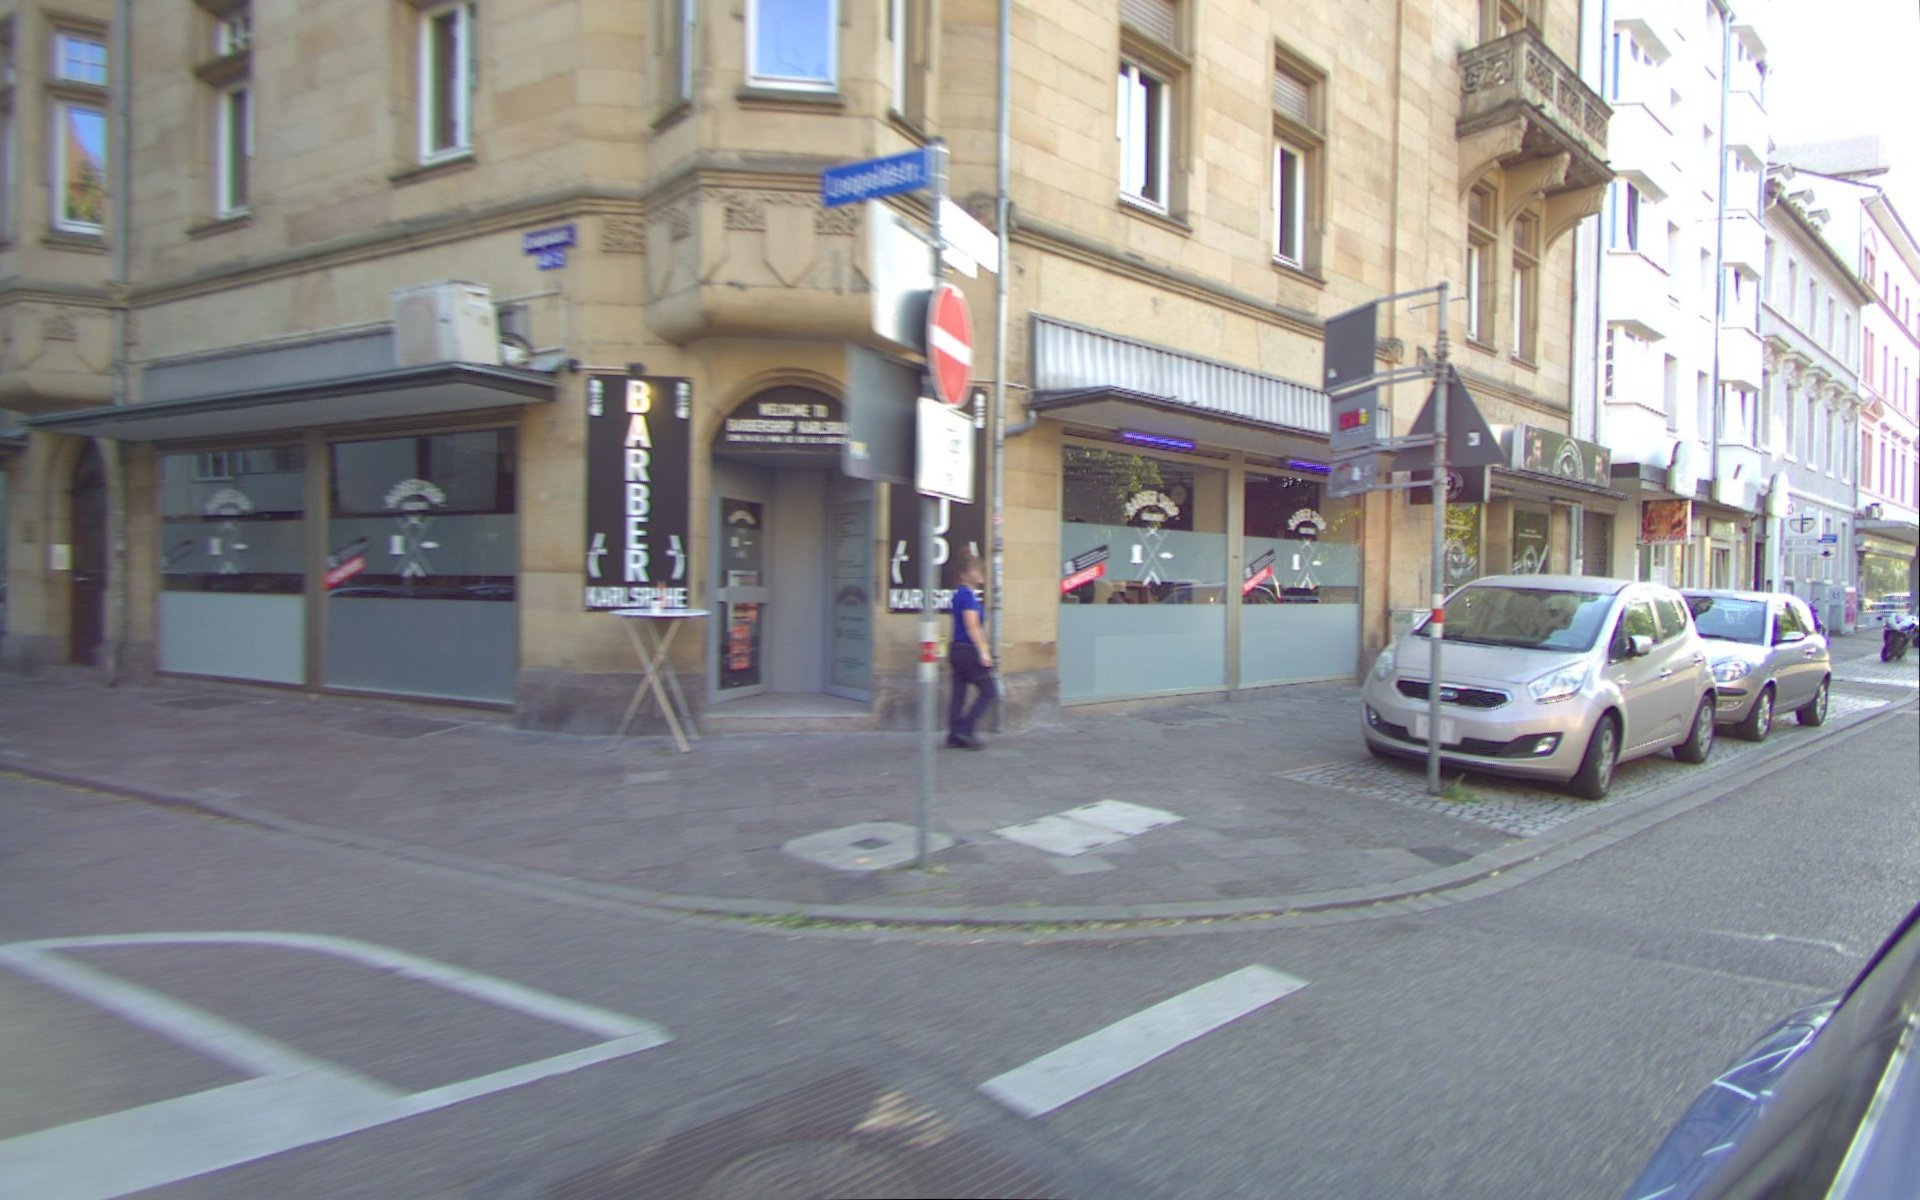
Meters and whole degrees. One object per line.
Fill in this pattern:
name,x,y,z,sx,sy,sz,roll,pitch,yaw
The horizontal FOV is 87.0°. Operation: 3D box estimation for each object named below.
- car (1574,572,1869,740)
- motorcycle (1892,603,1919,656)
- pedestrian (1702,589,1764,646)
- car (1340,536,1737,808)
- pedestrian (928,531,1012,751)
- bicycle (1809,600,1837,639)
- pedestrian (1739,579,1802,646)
car,8.836,0.532,11.639,3.926,1.580,1.685,0,2,-38
motorcycle,21.517,0.641,22.734,2.171,1.137,0.589,0,0,-41
pedestrian,17.637,0.387,23.104,0.774,1.235,0.745,3,2,-10
car,5.037,0.454,8.597,3.930,1.792,1.699,0,1,-41
pedestrian,0.076,0.315,8.126,0.415,1.687,0.587,1,-1,-33
bicycle,24.536,0.544,28.797,0.453,1.024,1.691,0,1,35
pedestrian,18.686,0.273,23.331,0.975,1.505,0.957,1,0,-40
